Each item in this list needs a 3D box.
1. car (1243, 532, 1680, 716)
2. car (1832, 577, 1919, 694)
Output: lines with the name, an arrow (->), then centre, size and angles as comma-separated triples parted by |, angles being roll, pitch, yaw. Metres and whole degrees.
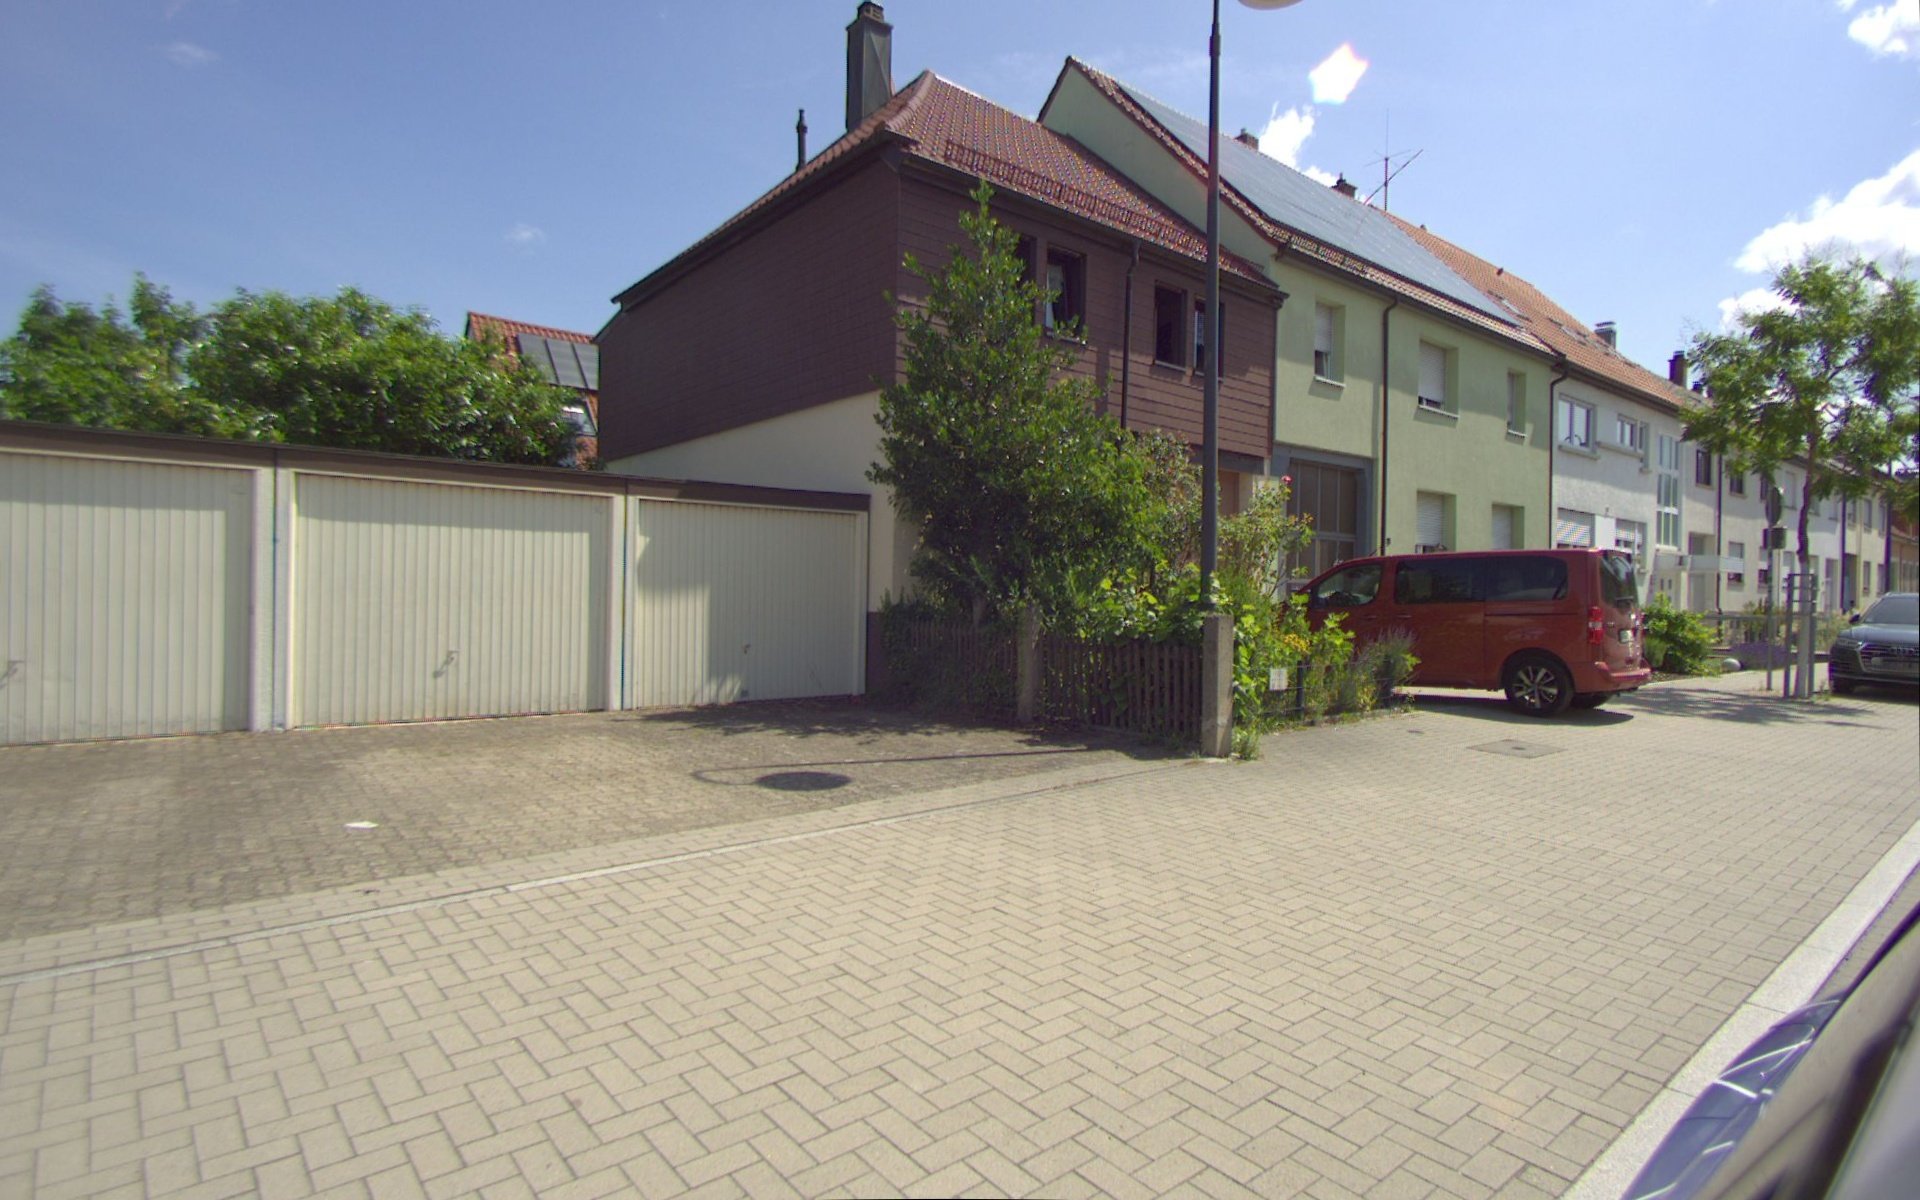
car -> 6.193, 0.234, 12.982 | 1.985, 1.917, 4.627 | -1, 0, -40
car -> 15.575, 0.563, 15.943 | 4.364, 1.655, 1.870 | 1, 3, -38
